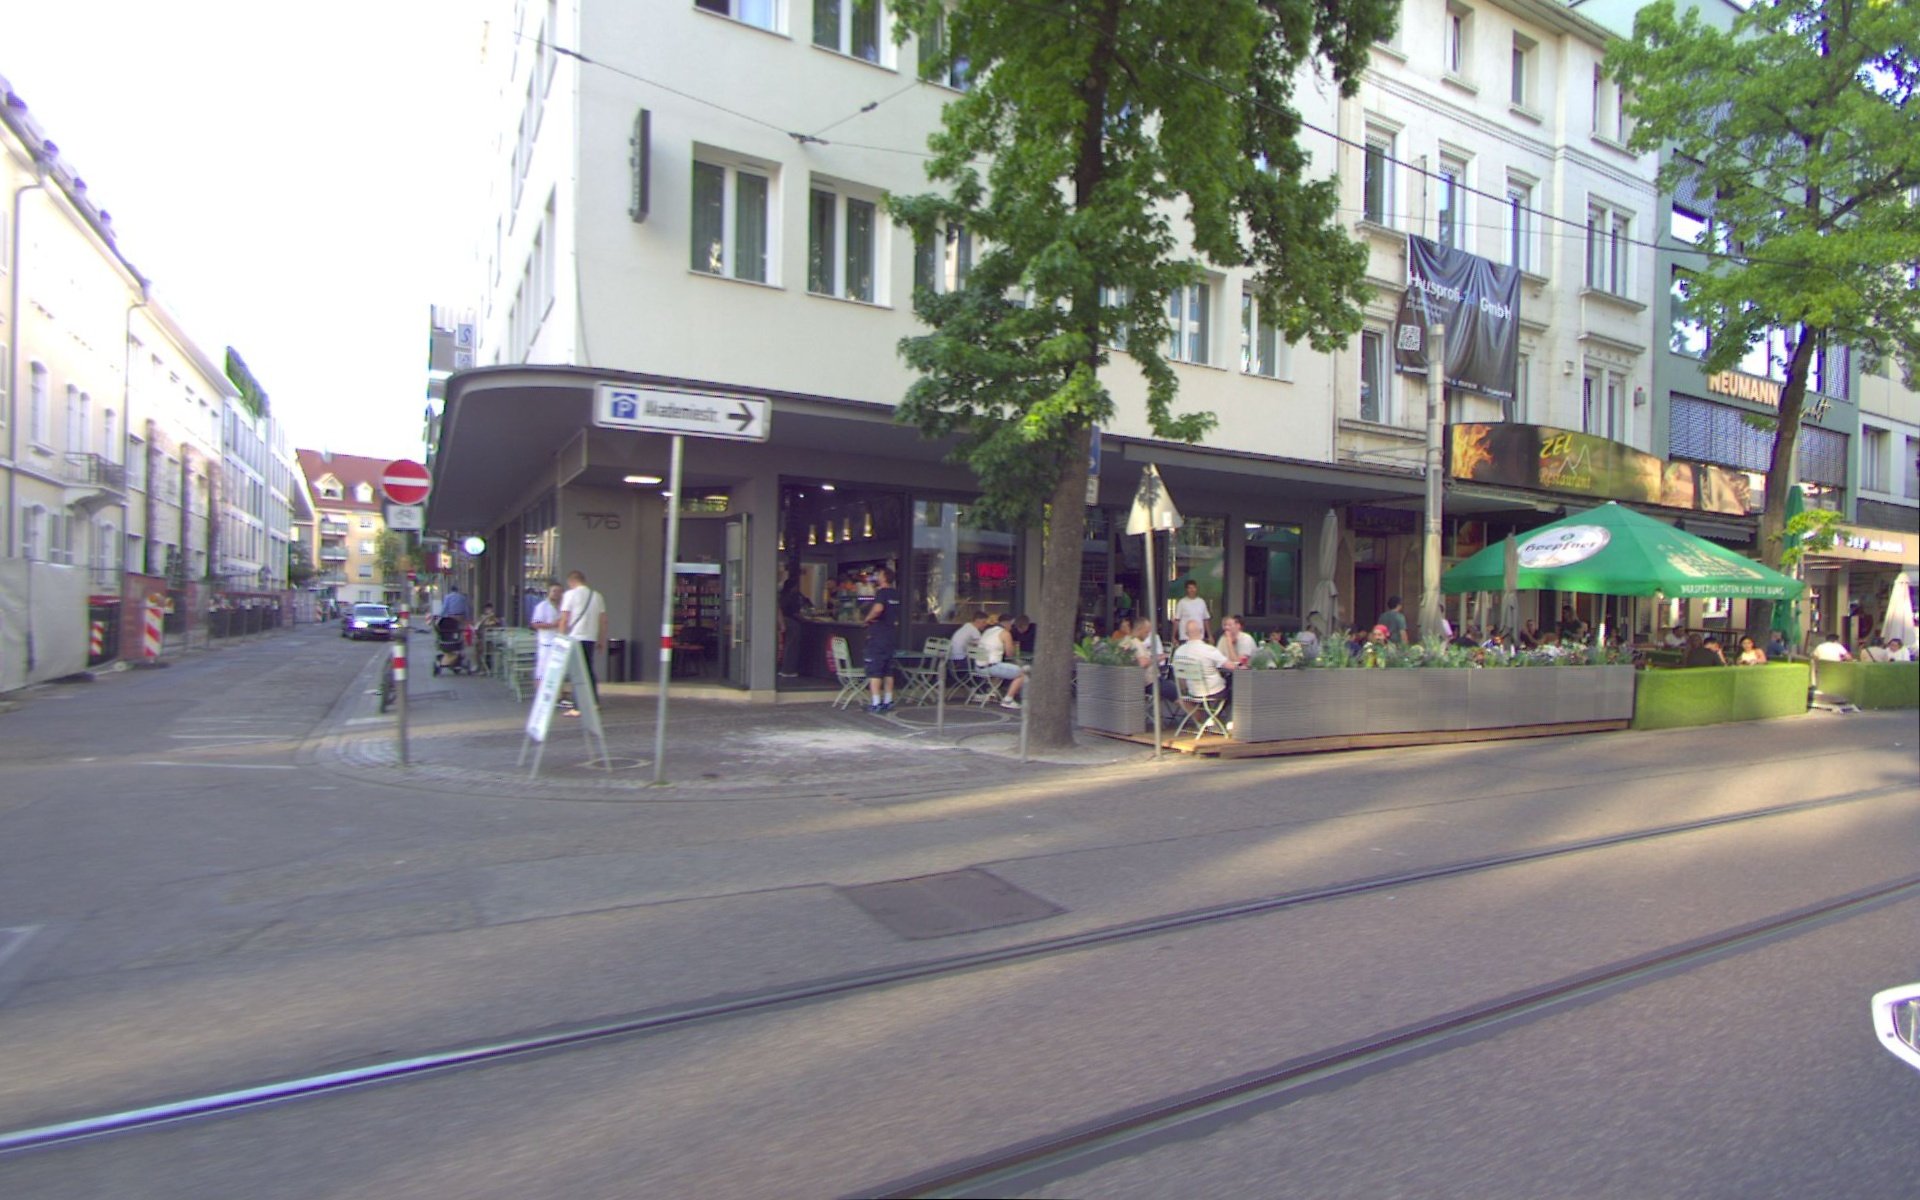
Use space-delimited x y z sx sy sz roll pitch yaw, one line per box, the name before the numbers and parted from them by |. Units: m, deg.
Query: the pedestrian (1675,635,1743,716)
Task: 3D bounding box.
pedestrian | 12.474 1.240 16.730 0.689 1.262 0.616 1 3 -30

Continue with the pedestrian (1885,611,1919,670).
pedestrian | 26.635 1.135 28.254 0.692 1.595 0.644 1 2 -30

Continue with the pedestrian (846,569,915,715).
pedestrian | -1.040 0.529 13.076 0.751 1.840 0.685 1 1 -14

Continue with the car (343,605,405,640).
car | -24.810 0.942 42.437 1.980 1.372 3.961 1 -1 -34

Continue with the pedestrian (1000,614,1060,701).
pedestrian | 1.049 0.850 15.080 0.678 1.252 0.550 1 1 -29

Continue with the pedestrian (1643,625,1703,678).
pedestrian | 17.146 1.221 24.152 1.052 1.204 0.749 1 3 -30

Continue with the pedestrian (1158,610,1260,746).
pedestrian | 2.744 0.836 11.100 0.797 1.405 0.686 1 1 -29

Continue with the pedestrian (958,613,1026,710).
pedestrian | 0.445 0.846 14.149 0.719 1.299 0.624 1 1 -29

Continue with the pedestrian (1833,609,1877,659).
pedestrian | 27.751 1.039 31.141 0.756 1.486 0.765 1 3 -32

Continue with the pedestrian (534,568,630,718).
pedestrian | -4.680 0.509 12.451 0.786 1.764 0.861 0 0 42

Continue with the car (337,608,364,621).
car | -68.596 1.647 112.946 1.984 1.372 3.952 1 -1 -41

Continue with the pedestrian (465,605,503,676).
pedestrian | -9.457 0.787 19.953 0.611 1.353 0.768 -1 1 -31

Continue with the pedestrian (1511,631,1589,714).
pedestrian | 9.553 1.155 16.269 0.857 1.276 0.705 1 1 -27

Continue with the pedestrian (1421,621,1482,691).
pedestrian | 9.299 1.043 19.016 0.789 1.259 0.666 1 1 -30

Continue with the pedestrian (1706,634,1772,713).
pedestrian | 13.262 1.242 17.104 0.689 1.262 0.616 1 3 -30

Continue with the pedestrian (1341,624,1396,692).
pedestrian | 7.421 1.040 18.263 0.678 1.190 0.599 1 1 -29

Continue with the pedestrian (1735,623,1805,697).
pedestrian | 15.926 1.169 19.752 0.862 1.361 0.750 1 3 -30

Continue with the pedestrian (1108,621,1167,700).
pedestrian | 2.765 0.931 15.641 0.678 1.177 0.550 1 1 -29

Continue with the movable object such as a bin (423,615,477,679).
movable object such as a bin | -9.690 0.870 19.066 0.846 1.129 1.108 -1 1 -31

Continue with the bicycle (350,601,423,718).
bicycle | -7.480 0.720 13.176 0.703 1.399 1.867 -2 1 -27

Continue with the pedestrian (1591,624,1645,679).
pedestrian | 14.947 1.161 22.835 0.779 1.184 0.696 1 3 -30

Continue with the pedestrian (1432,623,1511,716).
pedestrian | 7.705 1.028 15.138 0.797 1.329 0.686 1 1 -29

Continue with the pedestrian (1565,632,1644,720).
pedestrian | 9.941 1.161 15.504 0.762 1.276 0.705 1 1 -27

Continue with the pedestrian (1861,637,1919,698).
pedestrian | 19.382 1.393 20.918 0.788 1.209 0.653 1 3 -30

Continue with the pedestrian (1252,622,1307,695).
pedestrian | 5.427 0.986 17.067 0.678 1.177 0.550 1 1 -29

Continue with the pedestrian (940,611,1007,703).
pedestrian | 0.197 0.829 14.765 0.729 1.286 0.642 1 1 -29

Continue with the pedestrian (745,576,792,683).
pedestrian | -2.978 0.450 15.617 0.608 1.625 0.405 1 0 4

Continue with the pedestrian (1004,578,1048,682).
pedestrian | 1.216 0.532 18.466 0.673 1.844 0.767 2 1 10

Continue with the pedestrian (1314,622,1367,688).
pedestrian | 7.126 1.016 18.835 0.678 1.173 0.599 1 1 -29

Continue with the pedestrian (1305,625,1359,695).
pedestrian | 6.549 1.040 17.707 0.678 1.177 0.550 1 1 -29

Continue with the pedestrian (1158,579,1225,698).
pedestrian | 3.643 0.595 15.871 0.746 1.816 0.685 1 1 -14

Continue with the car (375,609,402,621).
car | -66.009 1.739 115.962 1.984 1.372 3.952 1 -1 -41

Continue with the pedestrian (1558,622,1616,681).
pedestrian | 13.822 1.127 22.147 0.779 1.230 0.733 1 3 -30

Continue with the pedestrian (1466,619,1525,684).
pedestrian | 11.056 1.049 20.745 0.779 1.248 0.733 1 3 -30

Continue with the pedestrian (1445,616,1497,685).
pedestrian | 10.333 1.007 20.318 0.689 1.327 0.616 1 3 -30

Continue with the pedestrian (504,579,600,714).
pedestrian | -5.199 0.558 12.807 0.787 1.636 0.860 1 2 44

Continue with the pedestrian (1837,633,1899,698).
pedestrian | 18.609 1.327 20.592 0.862 1.261 0.653 1 3 -30

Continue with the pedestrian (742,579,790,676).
pedestrian | -3.322 0.456 17.176 0.492 1.625 0.619 1 0 35

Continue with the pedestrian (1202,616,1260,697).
pedestrian | 4.586 0.940 17.000 0.678 1.316 0.599 1 1 -29

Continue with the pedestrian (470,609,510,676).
pedestrian | -8.884 0.783 18.964 0.611 1.218 0.687 -1 0 -31

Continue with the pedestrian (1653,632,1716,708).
pedestrian | 12.837 1.226 17.812 0.689 1.262 0.616 1 3 -30

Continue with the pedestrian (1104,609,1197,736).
pedestrian | 2.241 0.830 11.848 0.797 1.405 0.686 1 1 -29

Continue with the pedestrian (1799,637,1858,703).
pedestrian | 18.312 1.453 21.182 0.788 1.311 0.653 1 3 -30

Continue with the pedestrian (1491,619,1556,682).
pedestrian | 11.958 1.065 21.328 0.934 1.254 0.773 1 3 -30

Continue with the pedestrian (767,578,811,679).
pedestrian | -2.815 0.463 16.521 0.608 1.625 0.405 1 0 4

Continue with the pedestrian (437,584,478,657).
pedestrian | -13.294 0.540 26.591 0.920 1.879 0.812 1 0 -26

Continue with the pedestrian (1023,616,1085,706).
pedestrian | 1.364 0.881 14.650 0.678 1.252 0.550 1 1 -29

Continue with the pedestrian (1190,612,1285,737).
pedestrian | 3.303 0.858 11.976 0.797 1.405 0.686 1 1 -29

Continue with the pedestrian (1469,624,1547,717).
pedestrian | 8.470 1.070 15.543 0.771 1.365 0.705 1 1 -27

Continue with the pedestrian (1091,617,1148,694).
pedestrian | 2.560 0.880 16.109 0.678 1.177 0.550 1 1 -29

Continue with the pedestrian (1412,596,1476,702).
pedestrian | 7.972 0.795 16.542 0.689 1.693 0.616 1 1 -30

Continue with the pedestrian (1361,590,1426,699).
pedestrian | 7.305 0.736 16.936 0.688 1.780 0.675 1 1 -28
